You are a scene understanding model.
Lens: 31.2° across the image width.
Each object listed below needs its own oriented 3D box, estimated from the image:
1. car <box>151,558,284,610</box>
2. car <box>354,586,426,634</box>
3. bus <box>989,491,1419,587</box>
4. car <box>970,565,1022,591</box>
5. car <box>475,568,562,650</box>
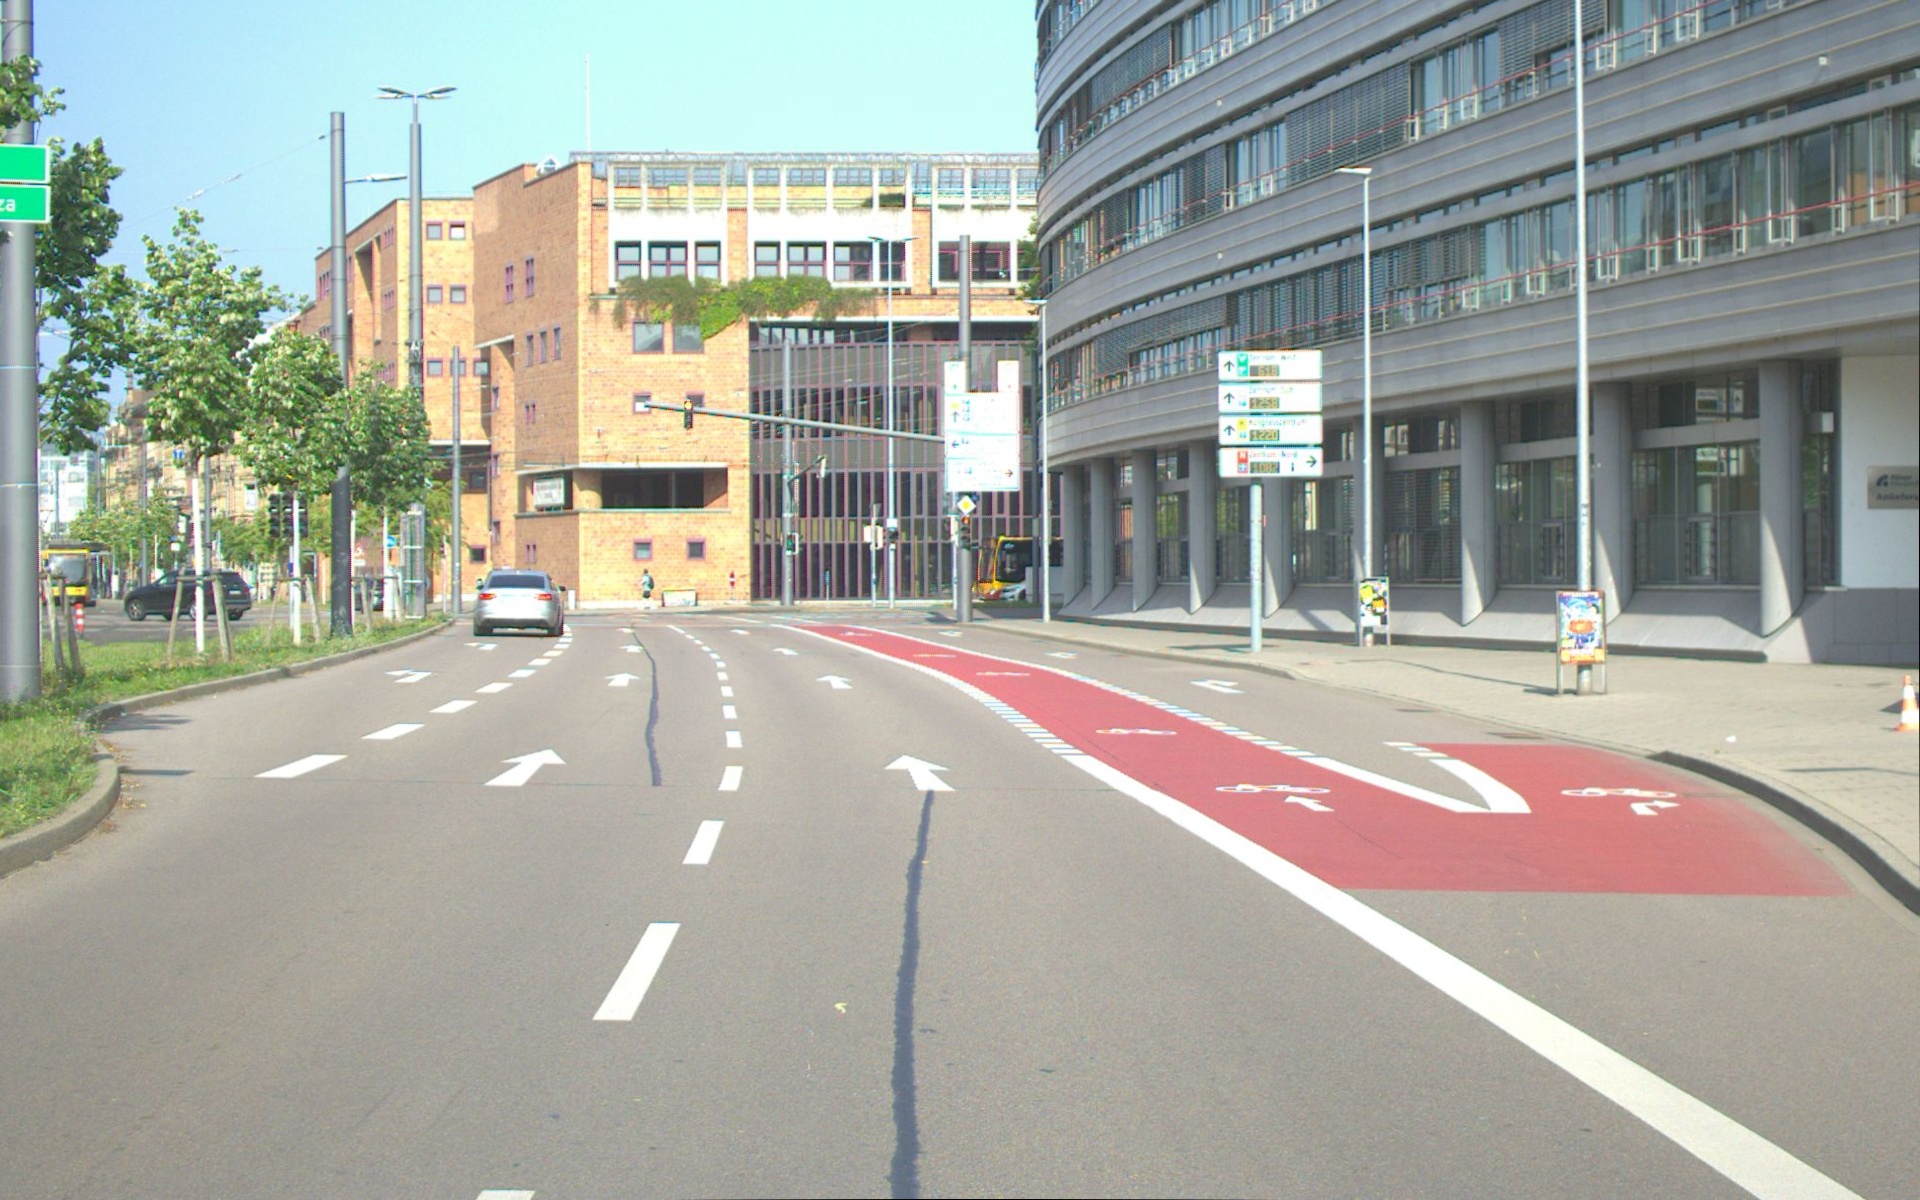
[{"bbox_3d":[-24.750,-0.514,114.694,1.998,1.673,3.991,-1,-1,37],"label":"car"},{"bbox_3d":[-24.510,0.448,147.667,1.993,2.007,4.000,0,-1,-26],"label":"car"},{"bbox_3d":[10.125,-2.523,143.259,17.606,3.798,2.865,0,-1,-7],"label":"bus"},{"bbox_3d":[1.433,-0.888,138.496,1.951,0.955,1.094,2,-2,-7],"label":"car"},{"bbox_3d":[-9.715,0.224,75.854,1.704,1.749,3.890,0,-1,-4],"label":"car"}]
